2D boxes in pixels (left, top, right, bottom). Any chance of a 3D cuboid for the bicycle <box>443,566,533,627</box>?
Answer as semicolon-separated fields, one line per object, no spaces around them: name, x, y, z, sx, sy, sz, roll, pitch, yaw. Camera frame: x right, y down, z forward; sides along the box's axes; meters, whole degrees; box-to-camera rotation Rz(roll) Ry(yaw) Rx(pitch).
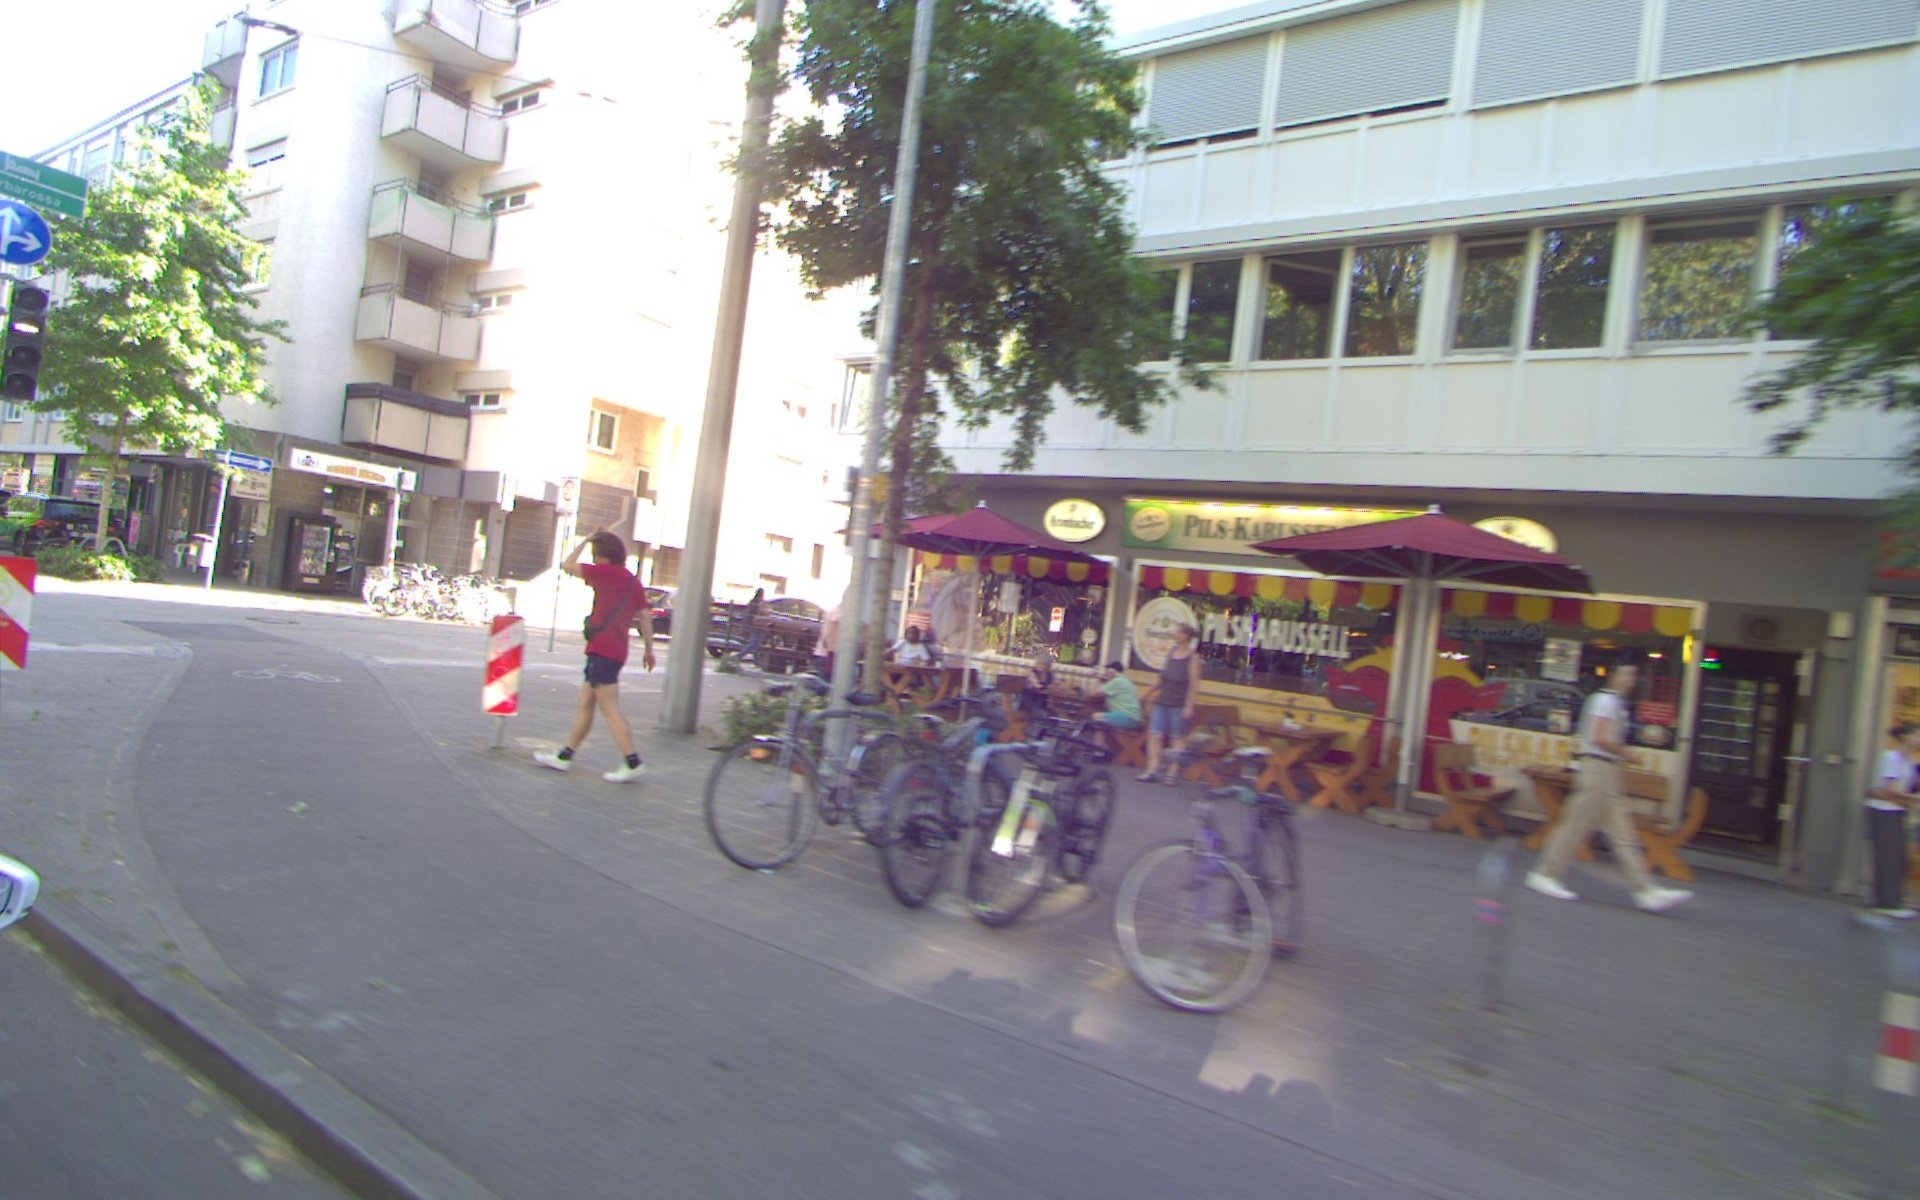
bicycle;-11.398;-0.060;24.362;0.502;1.221;1.919;7;-3;30

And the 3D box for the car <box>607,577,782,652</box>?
car;-7.413;0.467;28.546;1.841;1.495;4.590;9;0;34

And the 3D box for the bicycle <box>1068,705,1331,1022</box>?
bicycle;1.194;1.085;4.667;0.517;1.113;1.818;6;-2;33

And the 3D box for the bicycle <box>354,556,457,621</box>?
bicycle;-12.351;-0.240;22.454;0.502;1.222;1.918;8;-1;30

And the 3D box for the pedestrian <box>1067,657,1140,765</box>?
pedestrian;1.727;1.327;12.055;0.513;1.188;0.660;6;-2;32

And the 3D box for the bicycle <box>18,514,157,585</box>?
bicycle;-19.108;-1.085;22.082;0.672;1.201;2.125;6;-3;41

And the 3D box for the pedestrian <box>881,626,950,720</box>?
pedestrian;-0.666;1.091;15.098;0.704;1.302;0.536;6;-2;35

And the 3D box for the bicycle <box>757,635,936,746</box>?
bicycle;-1.323;1.016;11.470;1.991;0.974;0.677;6;-2;36

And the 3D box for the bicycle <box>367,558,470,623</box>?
bicycle;-11.905;-0.189;22.180;0.502;1.222;1.918;8;0;30

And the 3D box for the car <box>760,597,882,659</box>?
car;-4.510;0.977;33.184;1.679;1.526;3.996;6;-3;32

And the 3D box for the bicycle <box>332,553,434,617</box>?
bicycle;-13.227;-0.320;23.113;0.502;1.221;1.919;7;-3;30

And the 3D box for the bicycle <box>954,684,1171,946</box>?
bicycle;0.635;1.066;5.439;0.473;1.112;1.822;7;-3;25

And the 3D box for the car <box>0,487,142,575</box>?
car;-21.754;-1.693;24.138;4.374;1.634;1.996;6;-2;34

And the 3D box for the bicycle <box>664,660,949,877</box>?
bicycle;-0.790;0.928;5.803;0.473;1.005;1.820;6;-3;31

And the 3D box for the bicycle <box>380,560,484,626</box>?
bicycle;-11.462;-0.121;21.921;0.502;1.222;1.918;8;0;30

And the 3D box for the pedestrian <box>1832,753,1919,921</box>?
pedestrian;7.996;2.013;8.545;0.615;1.291;0.509;8;-1;-4

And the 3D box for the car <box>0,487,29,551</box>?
car;-27.676;-2.423;27.779;4.344;1.624;1.802;6;-3;34

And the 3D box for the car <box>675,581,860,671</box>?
car;-4.396;0.668;23.672;1.933;1.610;4.262;5;-3;27

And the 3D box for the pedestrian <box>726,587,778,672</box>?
pedestrian;-4.098;0.572;19.813;0.635;1.579;0.551;5;-3;38

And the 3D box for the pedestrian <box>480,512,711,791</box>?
pedestrian;-2.595;0.362;7.236;1.028;1.778;0.879;7;-2;22

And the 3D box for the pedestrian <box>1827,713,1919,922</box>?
pedestrian;7.915;1.831;8.540;0.509;1.647;0.508;7;-1;-4

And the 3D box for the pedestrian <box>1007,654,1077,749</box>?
pedestrian;1.025;1.263;12.527;0.513;1.091;0.643;6;-2;32

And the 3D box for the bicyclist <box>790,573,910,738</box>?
bicyclist;-1.252;0.627;11.466;0.950;1.737;0.677;6;-2;36

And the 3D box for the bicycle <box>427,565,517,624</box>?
bicycle;-11.956;-0.115;24.697;0.502;1.221;1.919;6;-3;30

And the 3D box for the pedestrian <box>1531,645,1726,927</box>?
pedestrian;4.822;1.302;7.317;0.979;1.804;0.591;6;-2;32

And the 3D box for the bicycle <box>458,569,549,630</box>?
bicycle;-10.880;0.008;24.060;0.502;1.221;1.919;8;-1;30

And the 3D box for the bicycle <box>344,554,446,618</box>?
bicycle;-12.778;-0.289;22.798;0.502;1.222;1.918;7;-1;30

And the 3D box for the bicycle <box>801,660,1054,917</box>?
bicycle;-0.089;0.957;5.516;0.489;1.112;1.822;7;-3;25

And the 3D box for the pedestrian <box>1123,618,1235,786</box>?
pedestrian;2.358;1.086;10.891;0.801;1.678;0.678;8;-2;-11
